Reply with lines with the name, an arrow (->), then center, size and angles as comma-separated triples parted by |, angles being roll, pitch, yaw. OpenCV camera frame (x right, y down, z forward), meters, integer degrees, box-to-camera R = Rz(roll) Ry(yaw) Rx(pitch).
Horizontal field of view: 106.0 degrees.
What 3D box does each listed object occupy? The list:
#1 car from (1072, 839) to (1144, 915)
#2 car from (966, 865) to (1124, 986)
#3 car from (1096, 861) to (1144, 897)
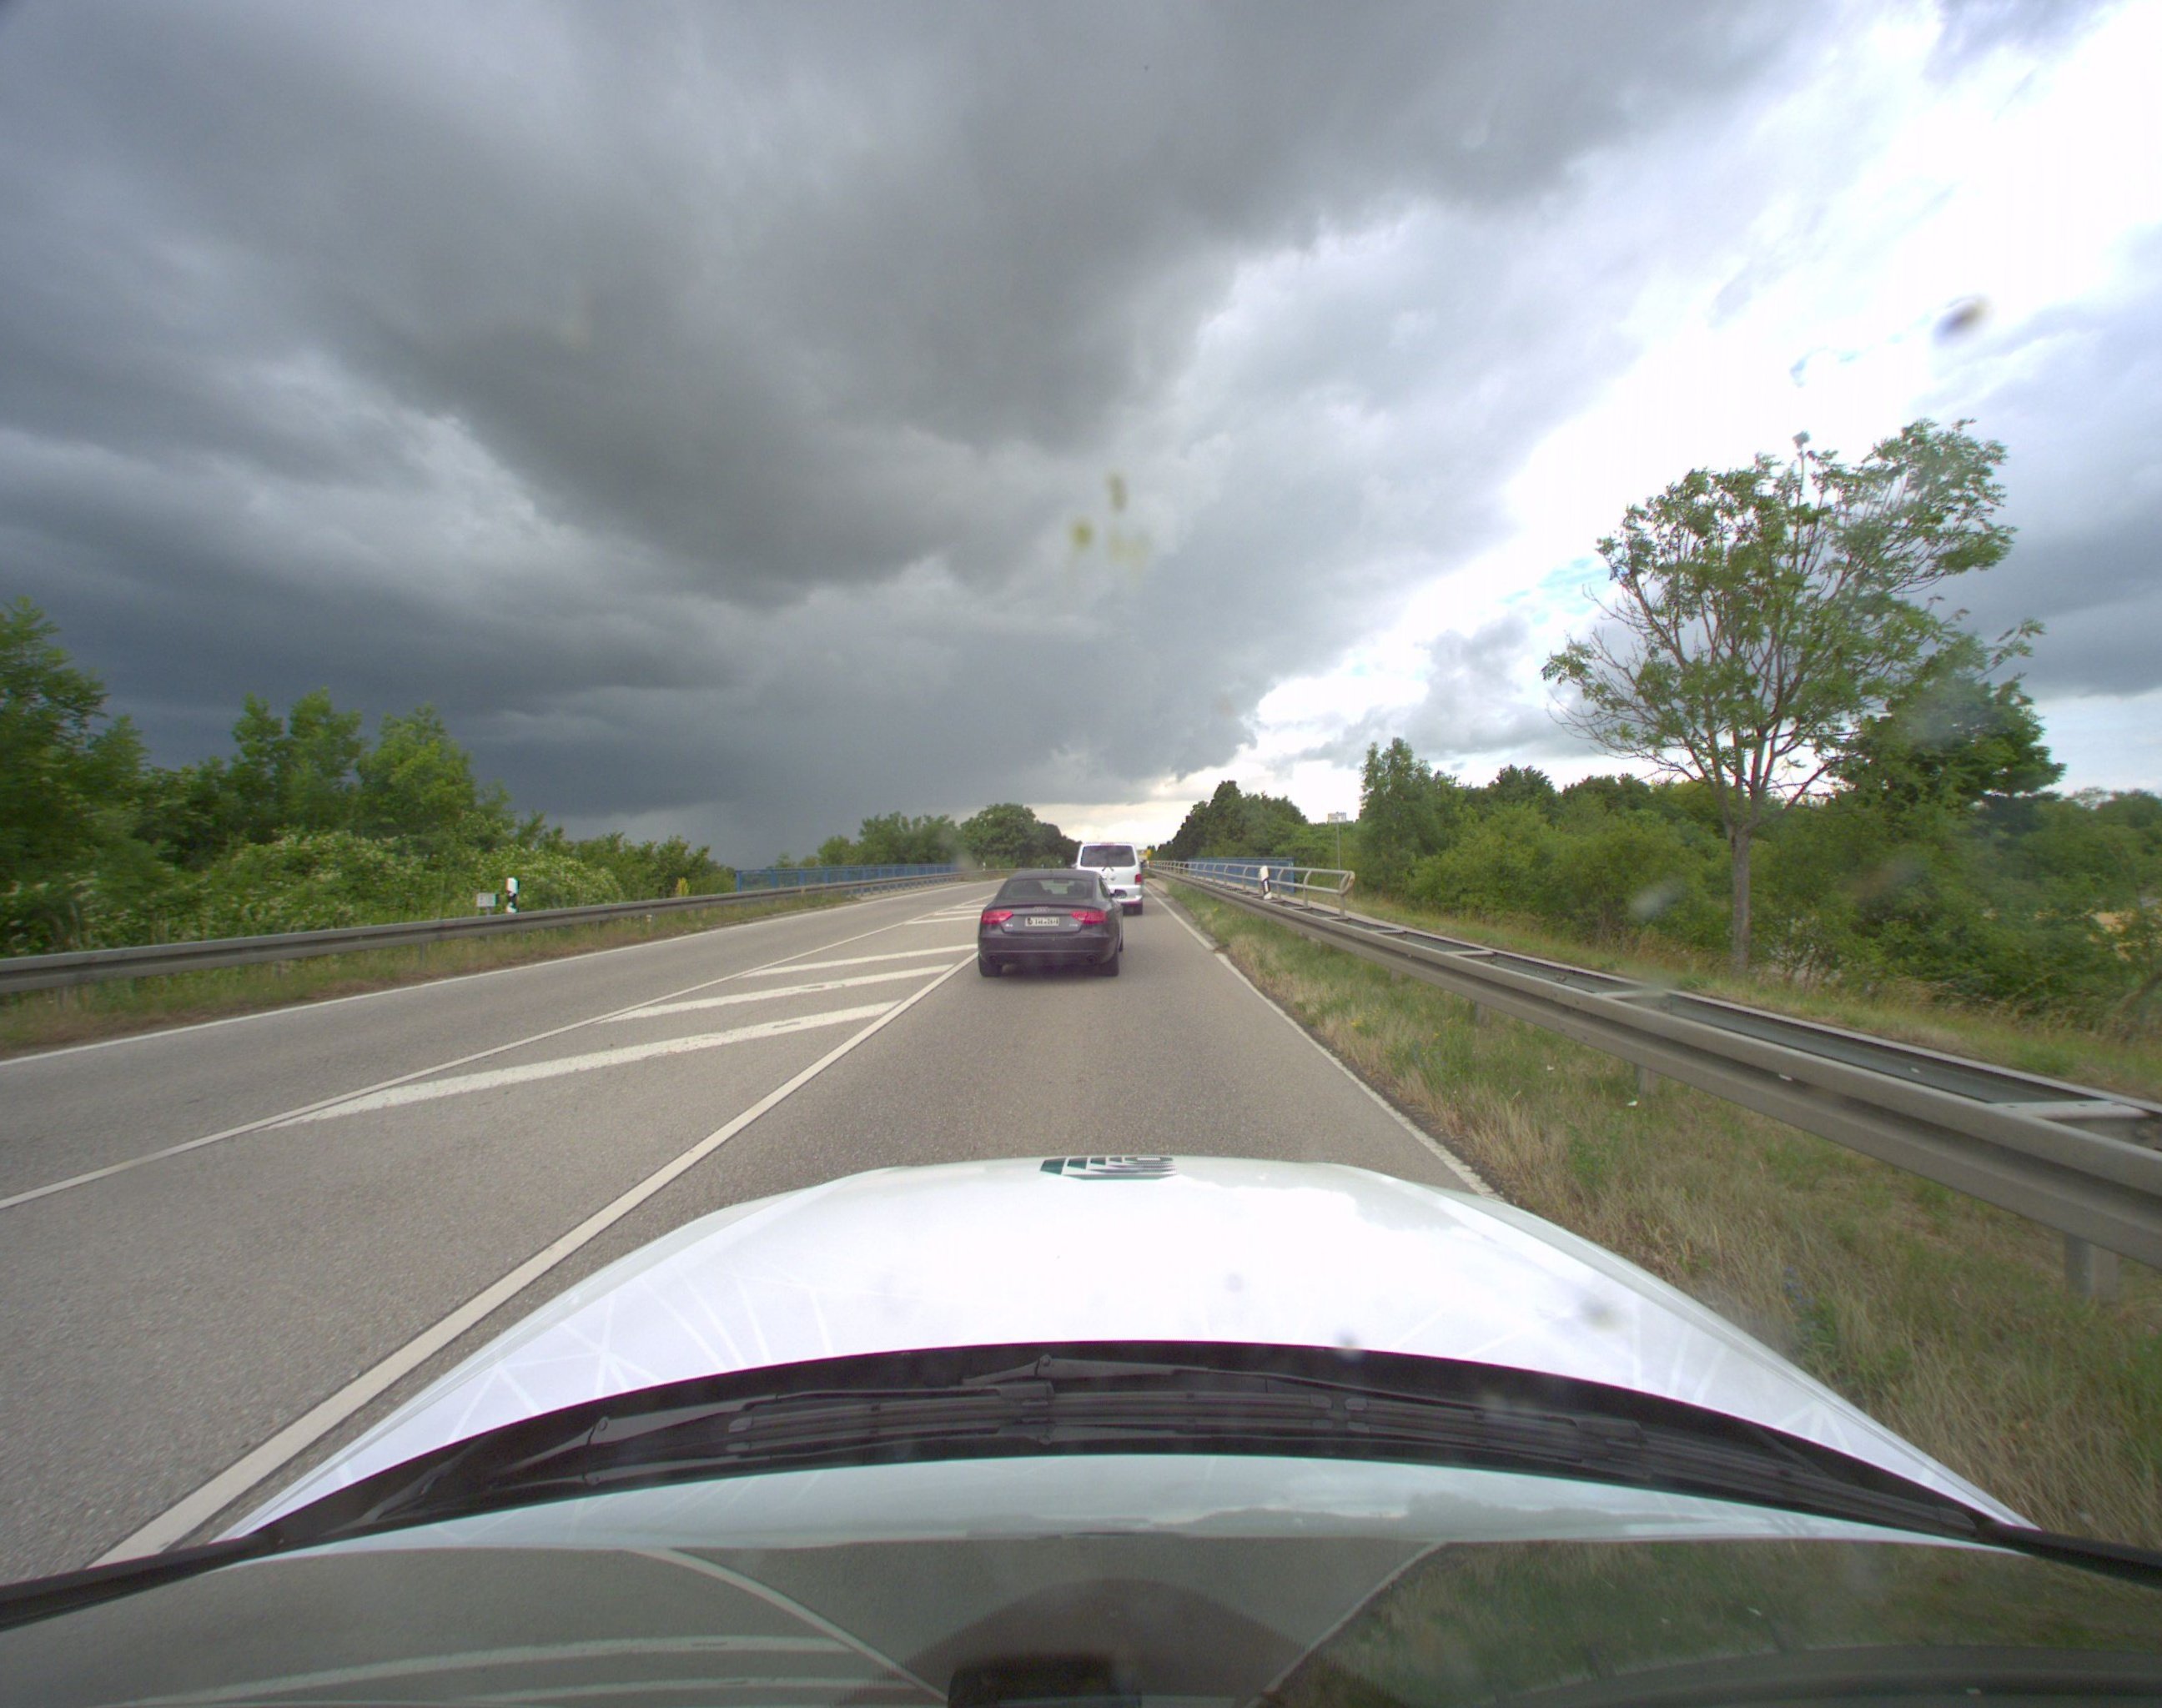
car -> 0.781, 0.617, 23.069 | 1.821, 1.935, 4.002 | -1, -1, 2
car -> -0.326, 0.877, 11.724 | 1.814, 1.381, 4.075 | -2, -1, 3
car -> 1.638, 0.984, 33.478 | 1.814, 1.381, 4.075 | -1, -1, 3
